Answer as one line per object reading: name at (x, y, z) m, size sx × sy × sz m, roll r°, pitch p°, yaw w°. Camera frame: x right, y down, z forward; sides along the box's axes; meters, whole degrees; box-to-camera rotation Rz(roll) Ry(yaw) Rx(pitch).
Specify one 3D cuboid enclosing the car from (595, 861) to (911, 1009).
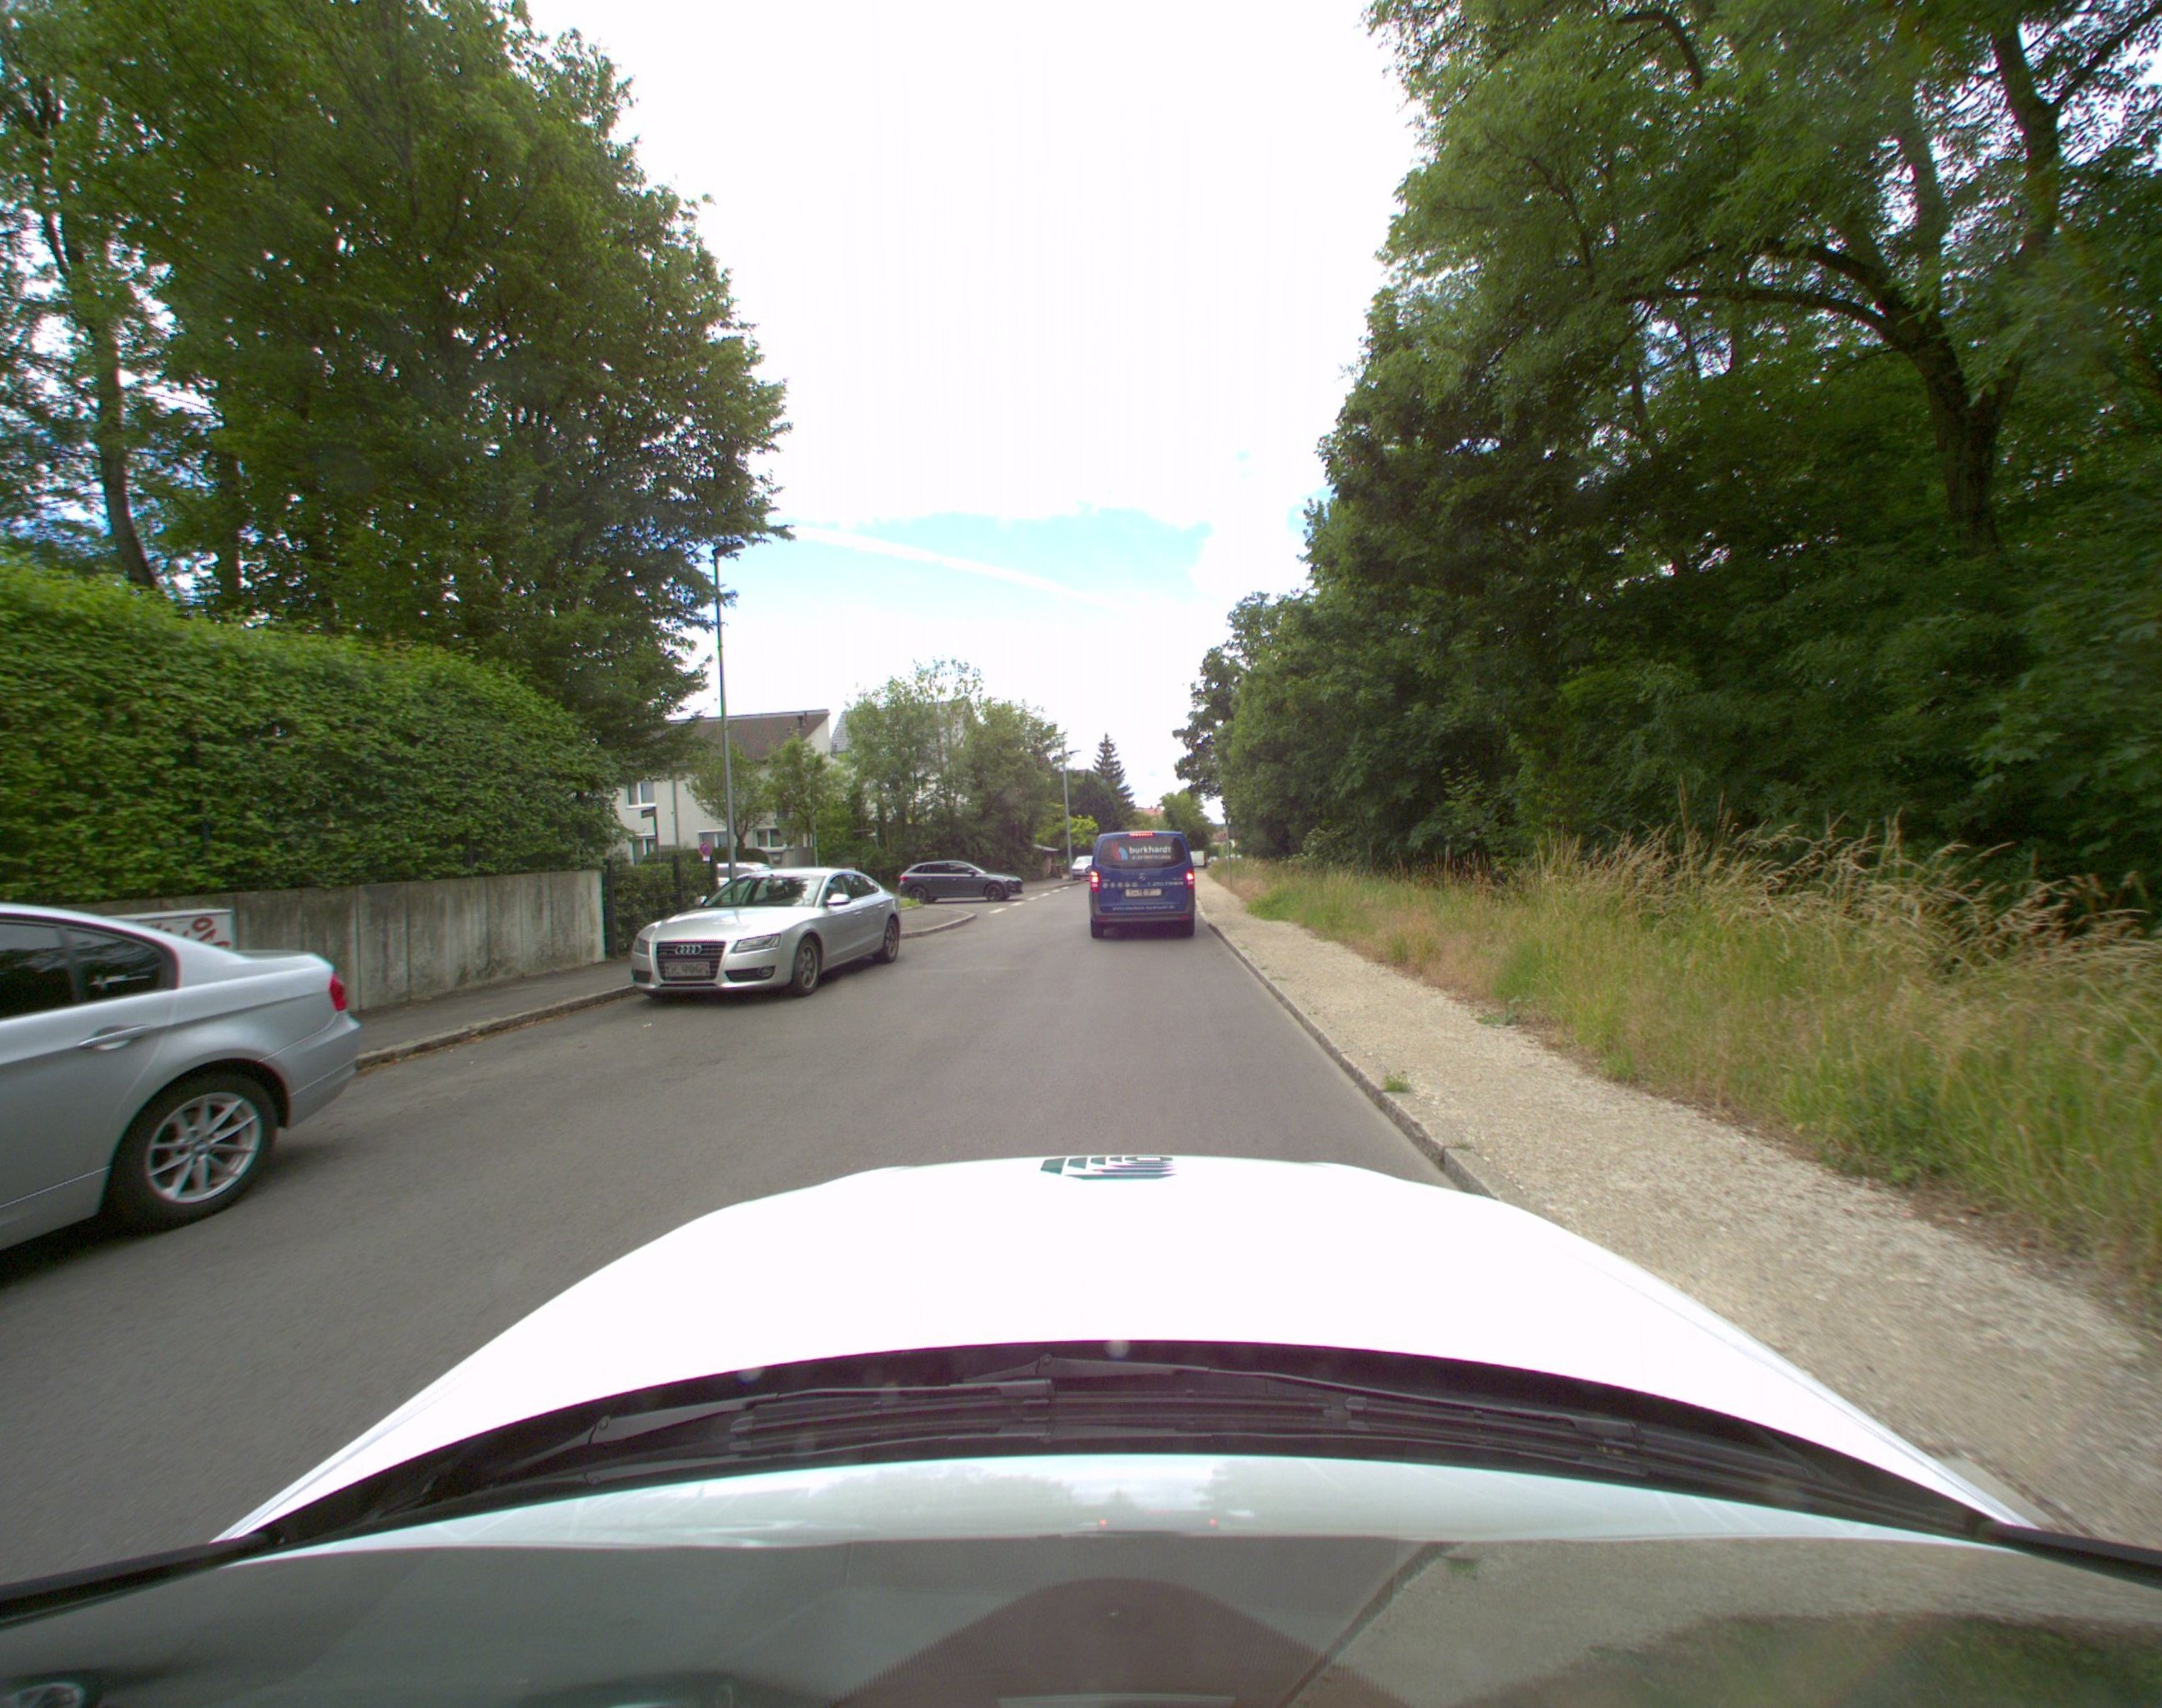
car at (-3.708, 0.825, 10.242) m, size 1.822 × 1.374 × 4.451 m, roll -1°, pitch 0°, yaw 5°

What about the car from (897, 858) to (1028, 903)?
car at (-4.086, 0.913, 28.438) m, size 4.146 × 1.447 × 1.743 m, roll -1°, pitch -1°, yaw 5°

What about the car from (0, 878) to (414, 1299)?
car at (-4.570, 0.844, 2.288) m, size 1.769 × 1.374 × 4.340 m, roll -1°, pitch 0°, yaw 0°

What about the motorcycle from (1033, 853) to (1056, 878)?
motorcycle at (-2.272, 0.712, 51.572) m, size 0.805 × 1.485 × 2.904 m, roll -1°, pitch 0°, yaw 10°

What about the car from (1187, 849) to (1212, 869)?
car at (13.241, 0.488, 90.497) m, size 2.190 × 2.063 × 6.156 m, roll -2°, pitch 0°, yaw 13°

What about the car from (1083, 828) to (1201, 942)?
car at (1.171, 0.512, 15.990) m, size 1.928 × 1.880 × 4.535 m, roll -2°, pitch 0°, yaw 3°

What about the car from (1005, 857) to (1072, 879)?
car at (-3.022, 0.990, 58.695) m, size 4.452 × 1.441 × 1.884 m, roll -1°, pitch -1°, yaw 10°

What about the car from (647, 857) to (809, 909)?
car at (-12.618, 1.023, 29.300) m, size 4.910 × 1.670 × 2.041 m, roll -2°, pitch -1°, yaw 6°

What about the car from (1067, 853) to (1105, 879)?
car at (0.361, 0.708, 48.773) m, size 1.696 × 1.468 × 4.085 m, roll -1°, pitch 0°, yaw 8°

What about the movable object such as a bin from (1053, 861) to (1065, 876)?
movable object such as a bin at (-1.454, 0.948, 53.581) m, size 0.586 × 0.909 × 0.703 m, roll -2°, pitch -1°, yaw 14°

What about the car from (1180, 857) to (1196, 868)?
car at (15.245, 1.227, 115.881) m, size 1.736 × 1.404 × 4.015 m, roll -2°, pitch 0°, yaw 14°
